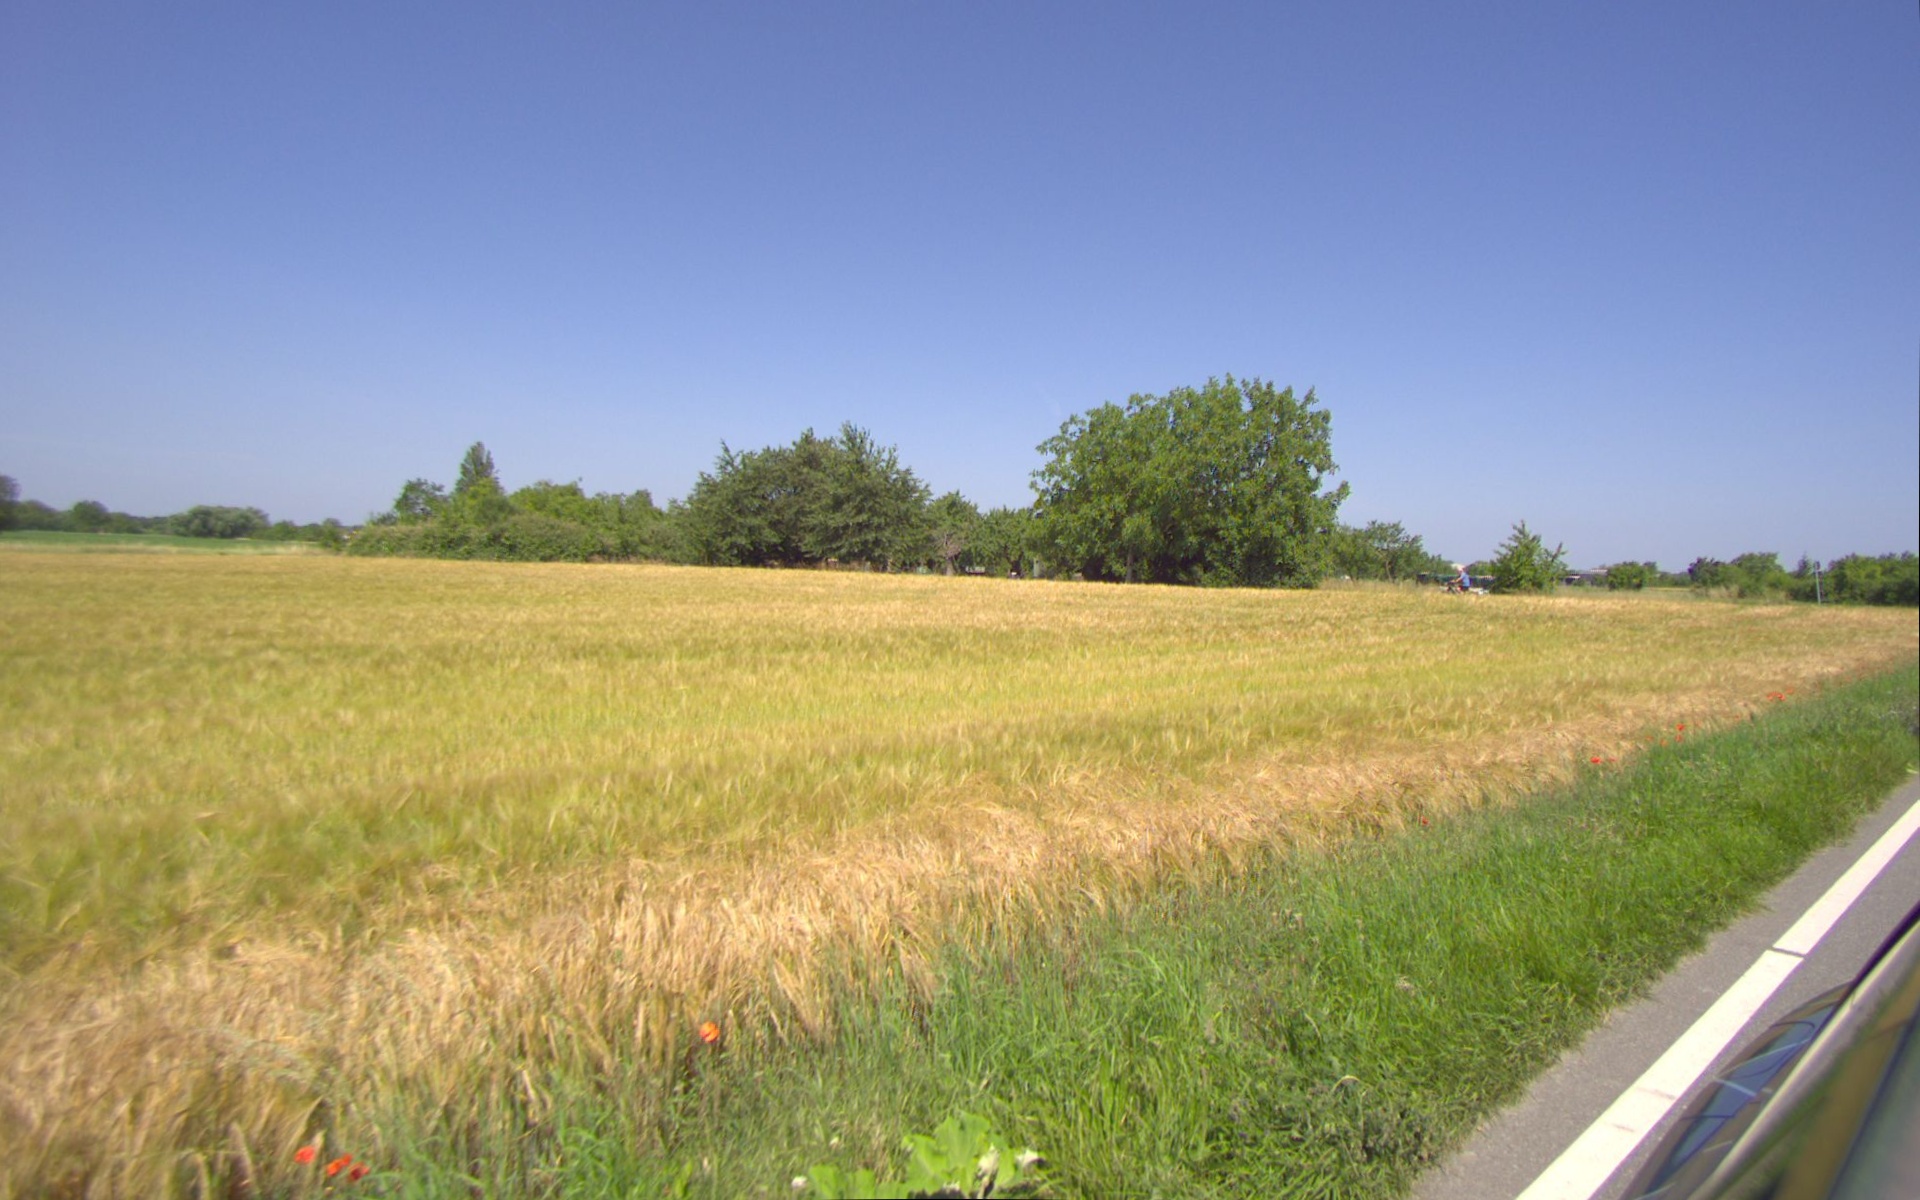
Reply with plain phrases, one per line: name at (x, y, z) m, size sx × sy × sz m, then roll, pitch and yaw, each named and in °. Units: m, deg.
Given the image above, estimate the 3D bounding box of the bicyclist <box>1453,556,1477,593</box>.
bicyclist at (21.939, -1.106, 43.960) m, size 0.724 × 1.593 × 0.672 m, roll 2°, pitch 2°, yaw 11°

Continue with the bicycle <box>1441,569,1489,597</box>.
bicycle at (21.928, -0.749, 43.973) m, size 1.742 × 1.129 × 0.520 m, roll 2°, pitch 2°, yaw 12°
